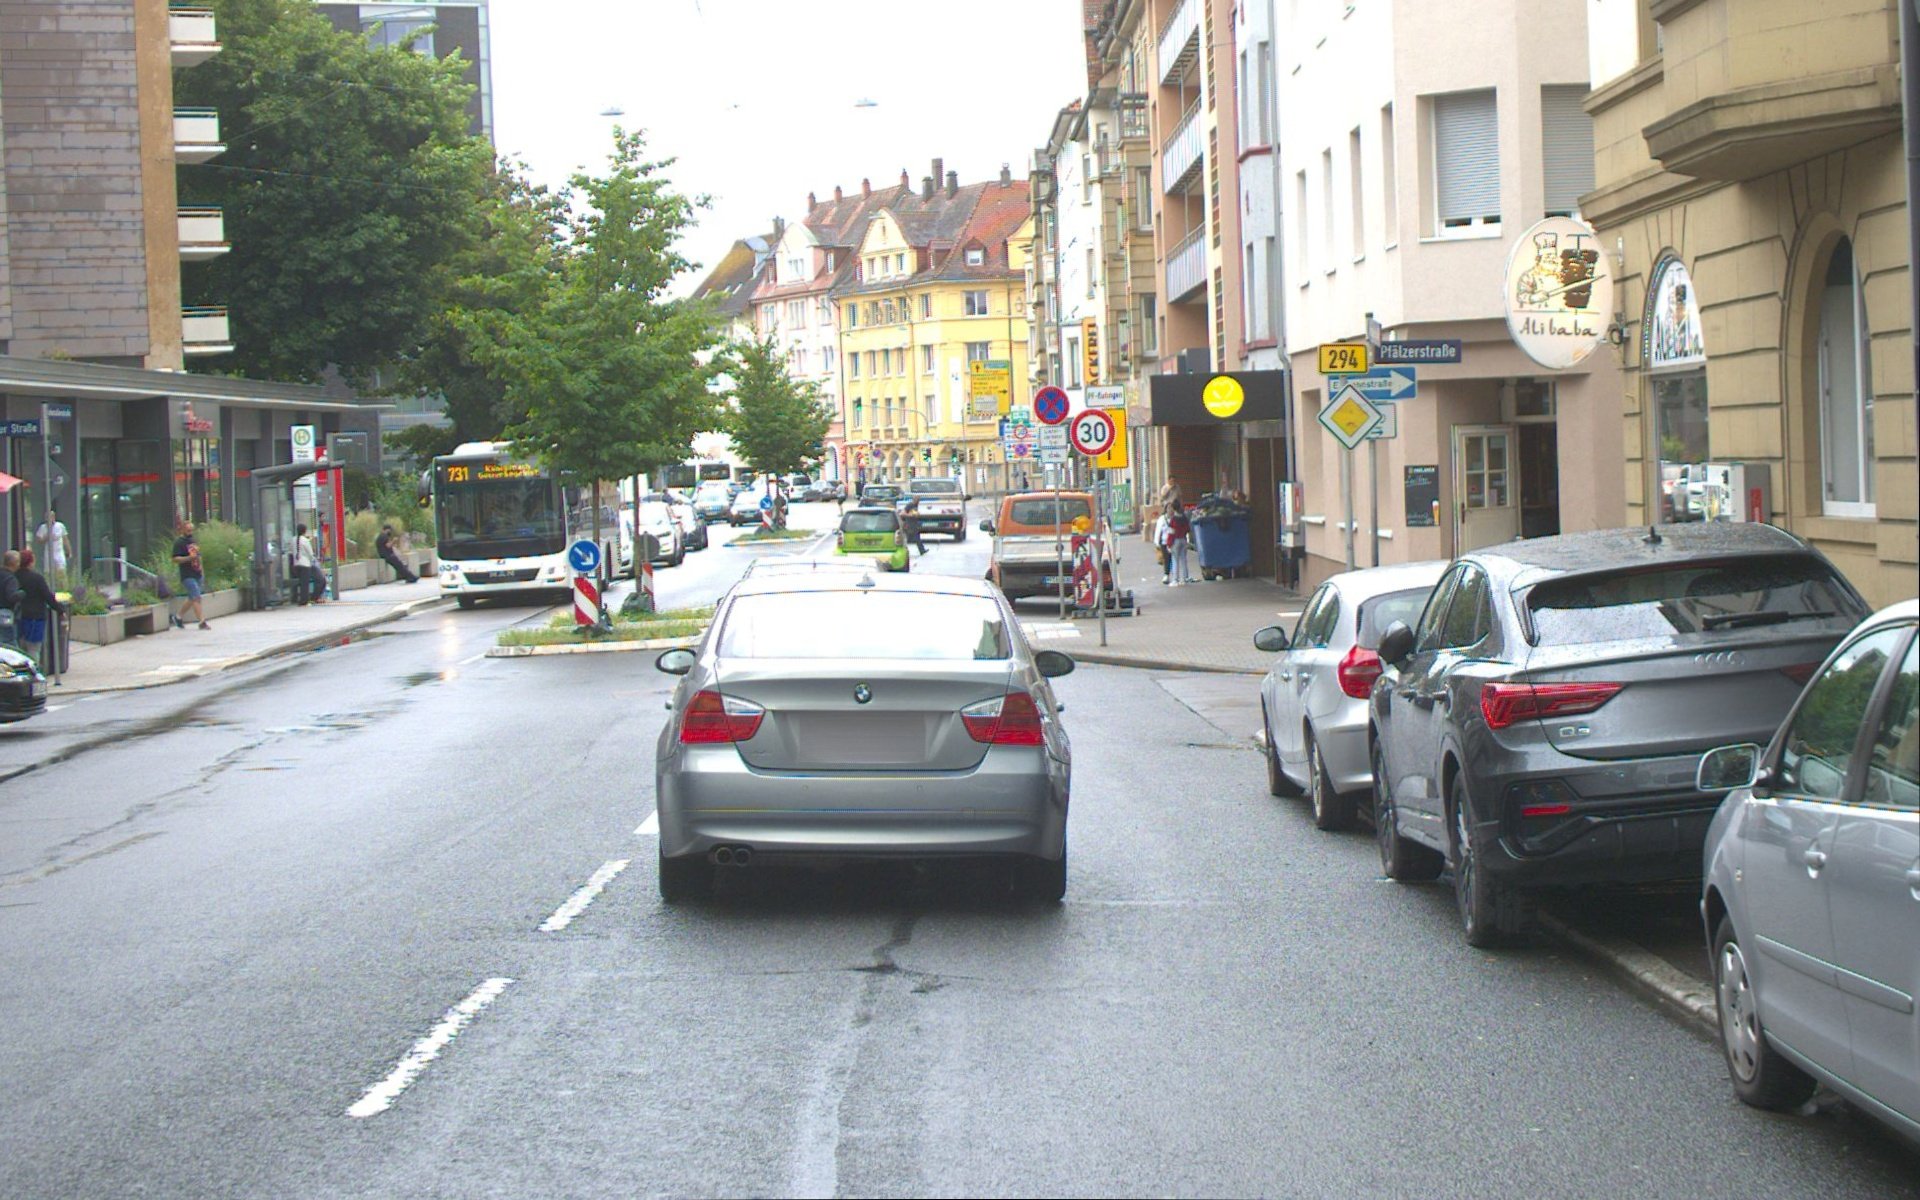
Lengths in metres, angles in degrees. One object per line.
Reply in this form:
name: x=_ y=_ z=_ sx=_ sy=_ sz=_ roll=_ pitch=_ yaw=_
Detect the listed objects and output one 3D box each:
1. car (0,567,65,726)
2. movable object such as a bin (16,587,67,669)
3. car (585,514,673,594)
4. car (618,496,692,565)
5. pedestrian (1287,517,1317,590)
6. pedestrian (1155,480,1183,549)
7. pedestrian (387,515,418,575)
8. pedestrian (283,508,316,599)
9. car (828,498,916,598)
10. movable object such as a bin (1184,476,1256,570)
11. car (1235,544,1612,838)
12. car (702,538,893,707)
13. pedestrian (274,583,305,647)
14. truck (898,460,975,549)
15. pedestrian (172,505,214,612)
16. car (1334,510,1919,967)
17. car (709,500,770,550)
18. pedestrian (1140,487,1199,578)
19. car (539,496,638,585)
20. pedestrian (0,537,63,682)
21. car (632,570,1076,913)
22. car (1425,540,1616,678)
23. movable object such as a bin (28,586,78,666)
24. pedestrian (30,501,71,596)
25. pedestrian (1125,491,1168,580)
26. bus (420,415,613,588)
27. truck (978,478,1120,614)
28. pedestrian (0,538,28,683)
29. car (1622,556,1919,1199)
car: x=-10.160 y=0.412 z=30.866 sx=3.815 sy=1.385 sz=1.743 roll=0 pitch=0 yaw=-1
movable object such as a bin: x=-12.390 y=0.373 z=46.391 sx=0.490 sy=1.077 sz=0.606 roll=-2 pitch=0 yaw=0
car: x=-8.735 y=-1.194 z=91.042 sx=1.993 sy=2.007 sz=4.000 roll=2 pitch=0 yaw=-2
car: x=-9.372 y=-2.128 z=105.958 sx=1.993 sy=2.007 sz=4.000 roll=1 pitch=0 yaw=-2
pedestrian: x=5.796 y=-0.789 z=58.208 sx=0.412 sy=1.199 sz=0.357 roll=-3 pitch=2 yaw=2
pedestrian: x=5.079 y=-2.073 z=83.476 sx=0.615 sy=1.655 sz=0.754 roll=1 pitch=0 yaw=6
pedestrian: x=-13.163 y=-1.297 z=81.165 sx=0.619 sy=1.373 sz=0.544 roll=1 pitch=0 yaw=1
pedestrian: x=-12.511 y=-0.870 z=65.161 sx=0.542 sy=1.703 sz=0.466 roll=1 pitch=0 yaw=-7
car: x=-1.868 y=-1.063 z=72.296 sx=1.705 sy=2.007 sz=4.000 roll=1 pitch=0 yaw=-3
movable object such as a bin: x=4.895 y=-1.443 z=64.896 sx=1.122 sy=1.697 sz=1.434 roll=-2 pitch=0 yaw=-3
car: x=2.594 y=0.444 z=20.072 sx=1.569 sy=1.459 sz=4.089 roll=-3 pitch=1 yaw=0
car: x=-1.477 y=0.191 z=31.181 sx=1.601 sy=1.415 sz=3.288 roll=1 pitch=0 yaw=-3
pedestrian: x=-12.999 y=0.289 z=66.667 sx=0.465 sy=1.226 sz=0.544 roll=1 pitch=0 yaw=1
truck: x=-0.748 y=-2.916 z=105.991 sx=2.216 sy=2.535 sz=4.780 roll=1 pitch=0 yaw=-1
pedestrian: x=-12.978 y=-0.705 z=58.145 sx=0.543 sy=1.784 sz=0.466 roll=2 pitch=0 yaw=-30
car: x=2.759 y=0.462 z=14.483 sx=1.818 sy=1.552 sz=4.293 roll=-3 pitch=1 yaw=0
car: x=-9.475 y=-3.210 z=148.015 sx=1.994 sy=2.007 sz=3.999 roll=1 pitch=0 yaw=5
pedestrian: x=3.889 y=-1.255 z=63.742 sx=0.750 sy=1.655 sz=0.754 roll=2 pitch=0 yaw=-36
car: x=-9.004 y=-1.418 z=83.544 sx=1.993 sy=2.007 sz=4.000 roll=2 pitch=0 yaw=-2
pedestrian: x=-11.359 y=0.109 z=41.730 sx=0.739 sy=1.703 sz=0.680 roll=-4 pitch=2 yaw=-21
car: x=-0.437 y=0.560 z=15.202 sx=1.756 sy=1.358 sz=3.165 roll=0 pitch=0 yaw=-1
car: x=5.871 y=0.088 z=36.322 sx=1.435 sy=1.352 sz=3.762 roll=1 pitch=0 yaw=1
movable object such as a bin: x=-12.410 y=0.353 z=47.054 sx=0.490 sy=1.077 sz=0.606 roll=-2 pitch=0 yaw=0
pedestrian: x=-16.424 y=-0.929 z=62.081 sx=0.659 sy=1.700 sz=0.660 roll=1 pitch=0 yaw=-16
pedestrian: x=3.546 y=-1.229 z=65.405 sx=0.749 sy=1.655 sz=0.836 roll=1 pitch=0 yaw=6
bus: x=-9.006 y=-1.881 z=71.091 sx=2.681 sy=3.190 sz=11.956 roll=1 pitch=0 yaw=-2
truck: x=1.499 y=-0.901 z=58.101 sx=2.215 sy=2.109 sz=4.652 roll=2 pitch=0 yaw=1
pedestrian: x=-11.381 y=0.123 z=40.906 sx=0.464 sy=1.703 sz=0.545 roll=1 pitch=0 yaw=-21
car: x=2.804 y=0.621 z=8.302 sx=1.583 sy=1.424 sz=3.595 roll=-4 pitch=1 yaw=-1
